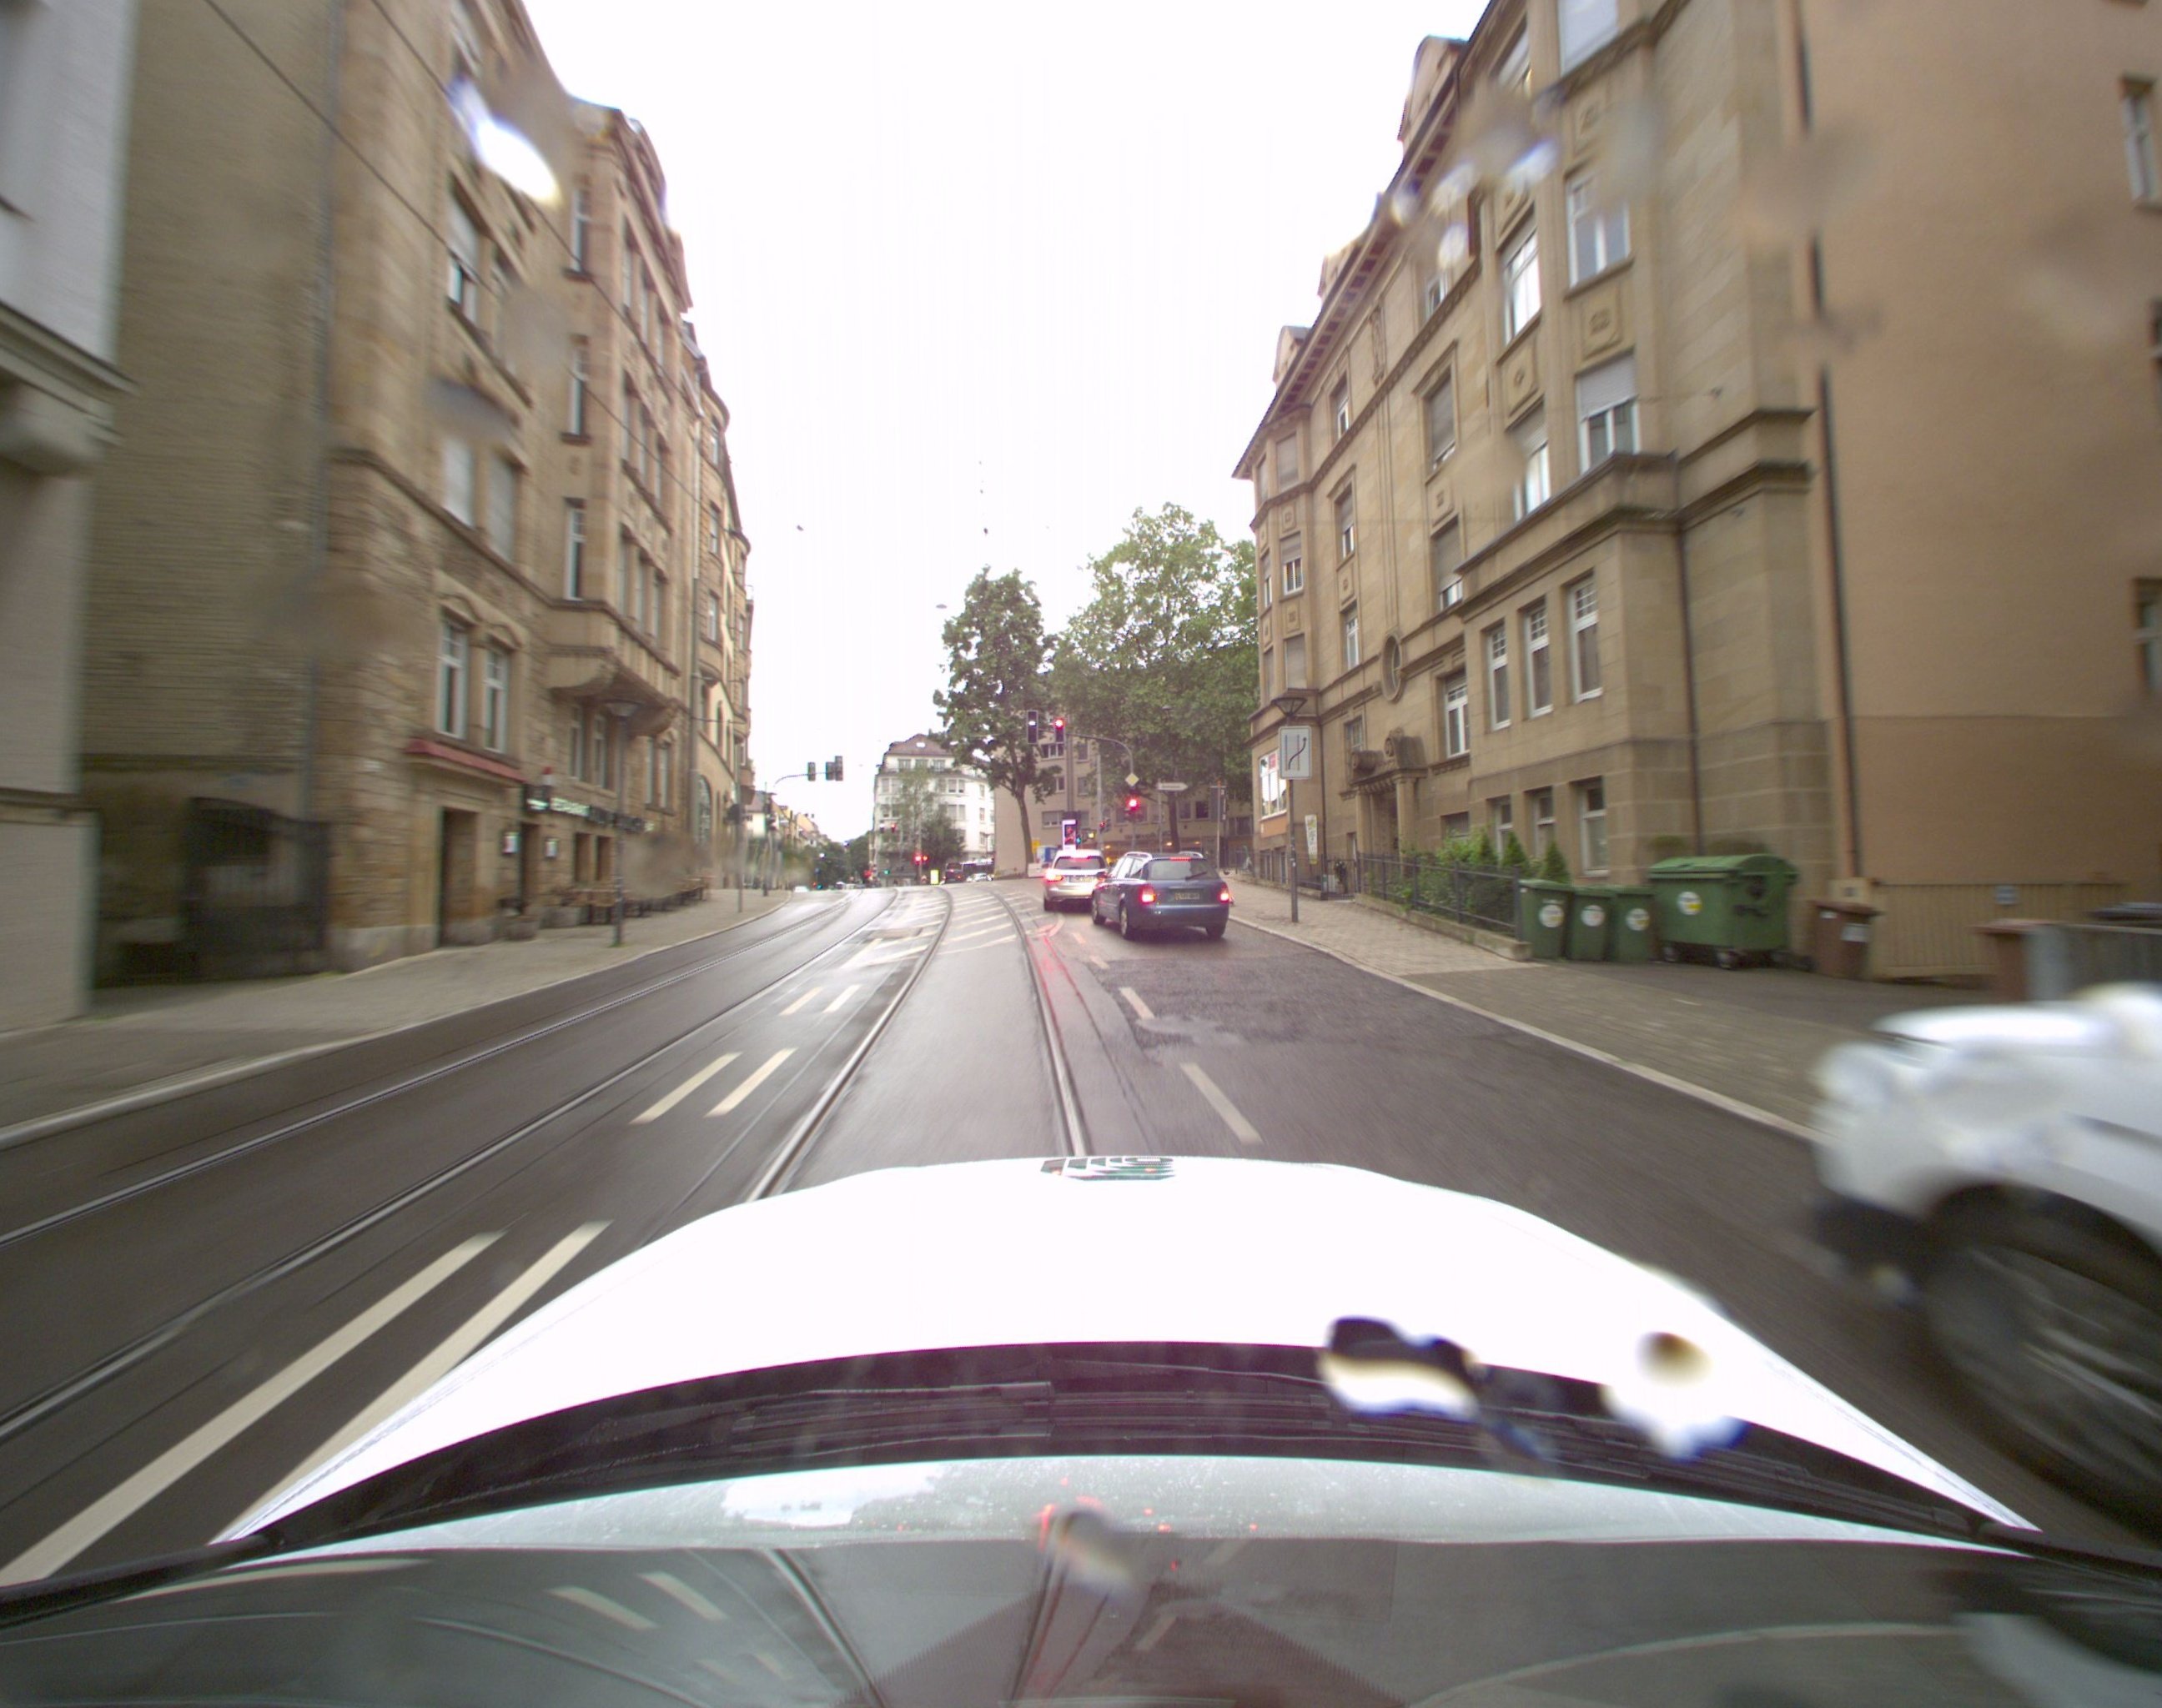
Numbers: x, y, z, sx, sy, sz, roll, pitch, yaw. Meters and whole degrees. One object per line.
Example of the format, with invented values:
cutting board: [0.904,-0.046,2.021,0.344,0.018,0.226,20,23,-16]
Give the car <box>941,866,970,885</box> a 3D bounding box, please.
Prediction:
car: [-11.837,1.995,76.977,1.786,1.510,4.005,-4,0,4]

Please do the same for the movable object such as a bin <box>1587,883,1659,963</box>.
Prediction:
movable object such as a bin: [7.426,0.937,11.175,0.536,1.026,0.603,3,-1,-6]

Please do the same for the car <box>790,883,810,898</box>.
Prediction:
car: [-33.662,4.372,97.355,1.803,1.510,4.628,-2,0,-24]

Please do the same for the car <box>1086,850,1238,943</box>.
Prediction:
car: [1.308,0.645,14.820,1.711,1.415,4.022,0,1,-11]

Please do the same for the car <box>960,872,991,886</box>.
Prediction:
car: [-12.592,3.011,97.518,1.778,1.510,4.023,-2,0,23]

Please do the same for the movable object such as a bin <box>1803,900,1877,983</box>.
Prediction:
movable object such as a bin: [9.225,1.052,9.912,0.392,0.943,0.518,3,-1,-6]

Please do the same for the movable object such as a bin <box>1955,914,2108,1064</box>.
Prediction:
movable object such as a bin: [6.575,0.908,5.651,0.426,0.919,0.536,-2,1,-6]

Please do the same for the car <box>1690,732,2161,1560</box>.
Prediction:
car: [3.276,0.642,0.821,1.794,1.765,4.456,1,0,-4]

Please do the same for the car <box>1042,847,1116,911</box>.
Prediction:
car: [-0.093,0.568,20.655,1.706,1.456,3.550,0,1,-2]

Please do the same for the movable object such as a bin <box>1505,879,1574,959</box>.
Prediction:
movable object such as a bin: [6.210,0.865,11.042,0.536,1.026,0.603,3,-1,-6]

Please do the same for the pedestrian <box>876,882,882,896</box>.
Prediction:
pedestrian: [-25.095,4.339,101.179,0.649,1.661,0.647,0,0,-15]

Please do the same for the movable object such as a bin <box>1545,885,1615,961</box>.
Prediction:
movable object such as a bin: [6.788,0.928,11.093,0.536,0.968,0.603,3,-1,-6]

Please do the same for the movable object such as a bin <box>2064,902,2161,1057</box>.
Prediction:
movable object such as a bin: [7.714,0.889,5.833,0.525,1.030,0.665,3,-1,3]

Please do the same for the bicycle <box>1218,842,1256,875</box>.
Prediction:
bicycle: [5.954,0.159,31.075,1.299,1.173,0.525,-3,0,-7]

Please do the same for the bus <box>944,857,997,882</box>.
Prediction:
bus: [-13.955,1.915,103.915,2.830,2.861,8.778,-2,0,20]

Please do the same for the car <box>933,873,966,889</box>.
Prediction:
car: [-14.873,3.021,92.321,1.778,1.614,4.023,-2,0,23]

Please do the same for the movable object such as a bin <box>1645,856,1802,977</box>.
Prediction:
movable object such as a bin: [8.330,0.775,10.621,0.970,1.432,1.277,3,-1,-6]

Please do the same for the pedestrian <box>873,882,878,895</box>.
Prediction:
pedestrian: [-26.305,4.444,104.192,0.649,1.661,0.647,0,0,-15]
